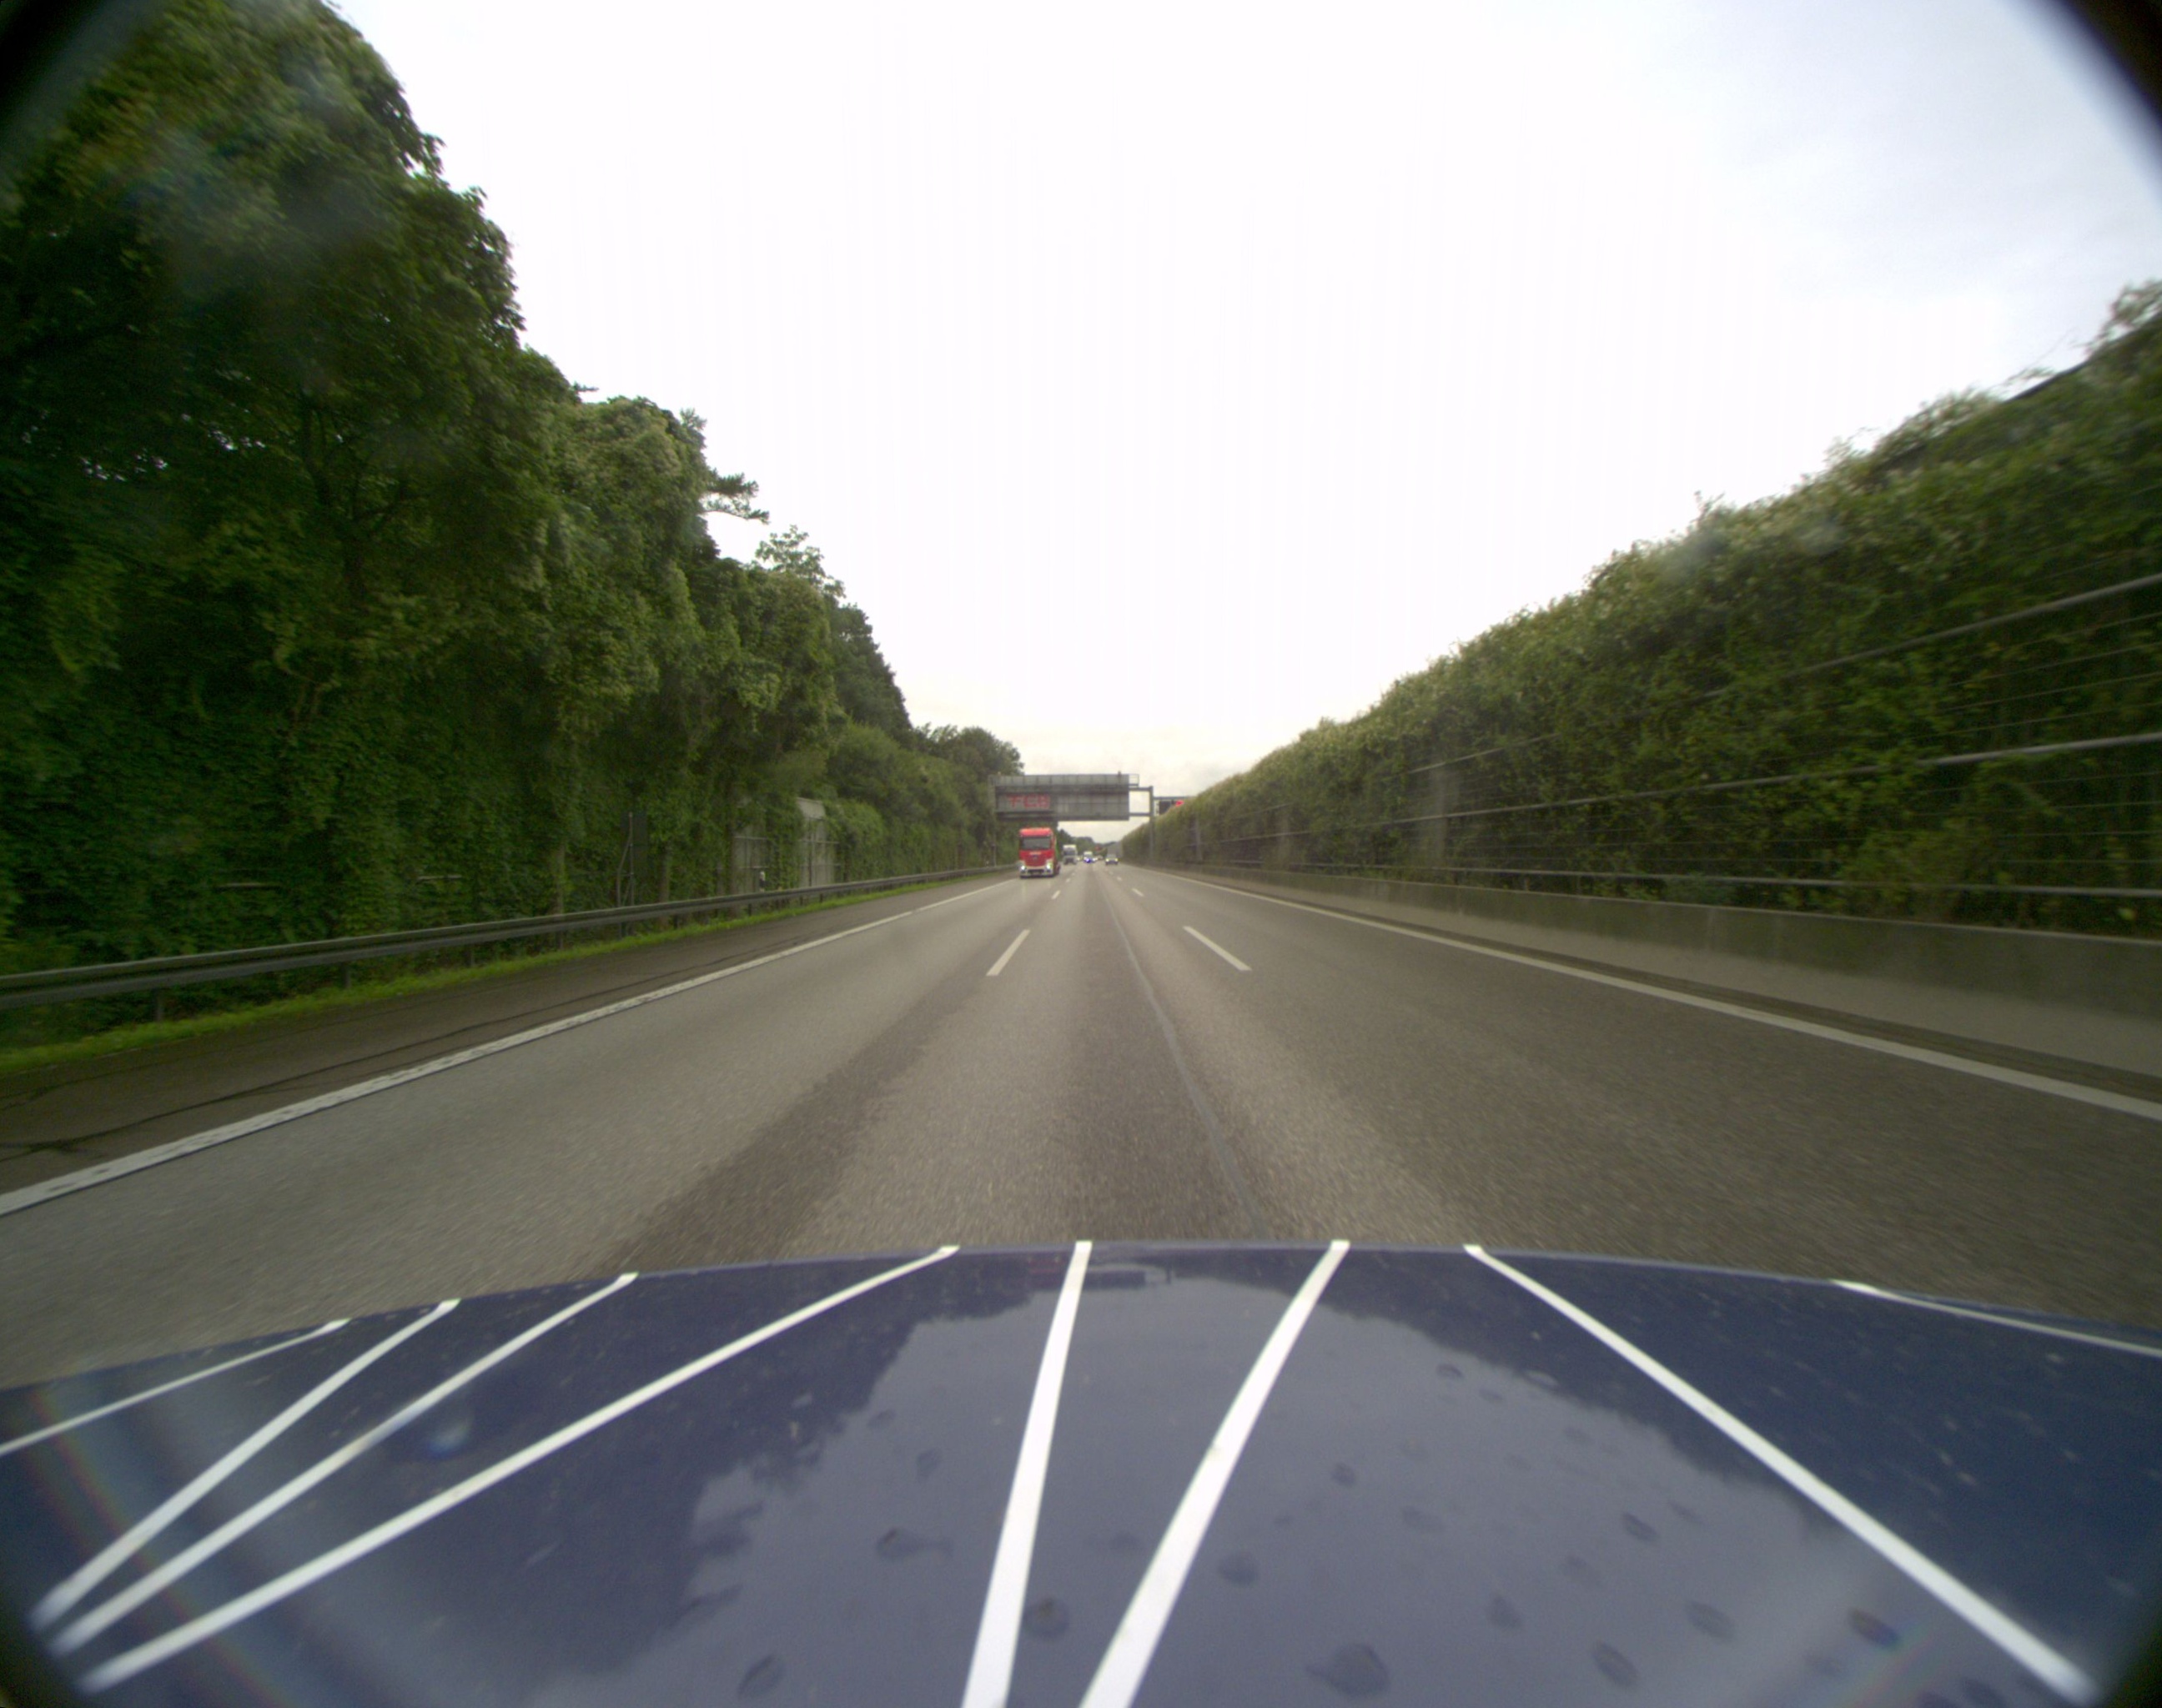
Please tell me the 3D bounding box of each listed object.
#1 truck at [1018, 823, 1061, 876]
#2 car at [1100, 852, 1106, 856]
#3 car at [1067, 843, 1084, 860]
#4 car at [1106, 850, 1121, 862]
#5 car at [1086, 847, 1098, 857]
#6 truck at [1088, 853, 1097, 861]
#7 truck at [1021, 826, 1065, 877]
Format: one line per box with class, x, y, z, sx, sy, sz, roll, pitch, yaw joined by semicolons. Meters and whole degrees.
truck;-3.075;-0.392;57.241;2.708;3.809;4.198;-2;2;2
car;7.309;-0.011;253.690;1.751;1.368;4.000;-2;0;1
car;-1.123;-0.541;149.281;3.039;3.278;6.733;-2;1;1
car;5.110;0.346;119.236;2.023;1.595;5.438;-4;1;0
car;2.579;-0.567;177.295;2.769;2.227;6.546;-2;1;1
truck;2.412;0.678;160.356;1.825;1.535;3.998;-3;2;0
truck;-2.953;-0.337;62.066;2.708;3.691;9.839;-2;2;1
